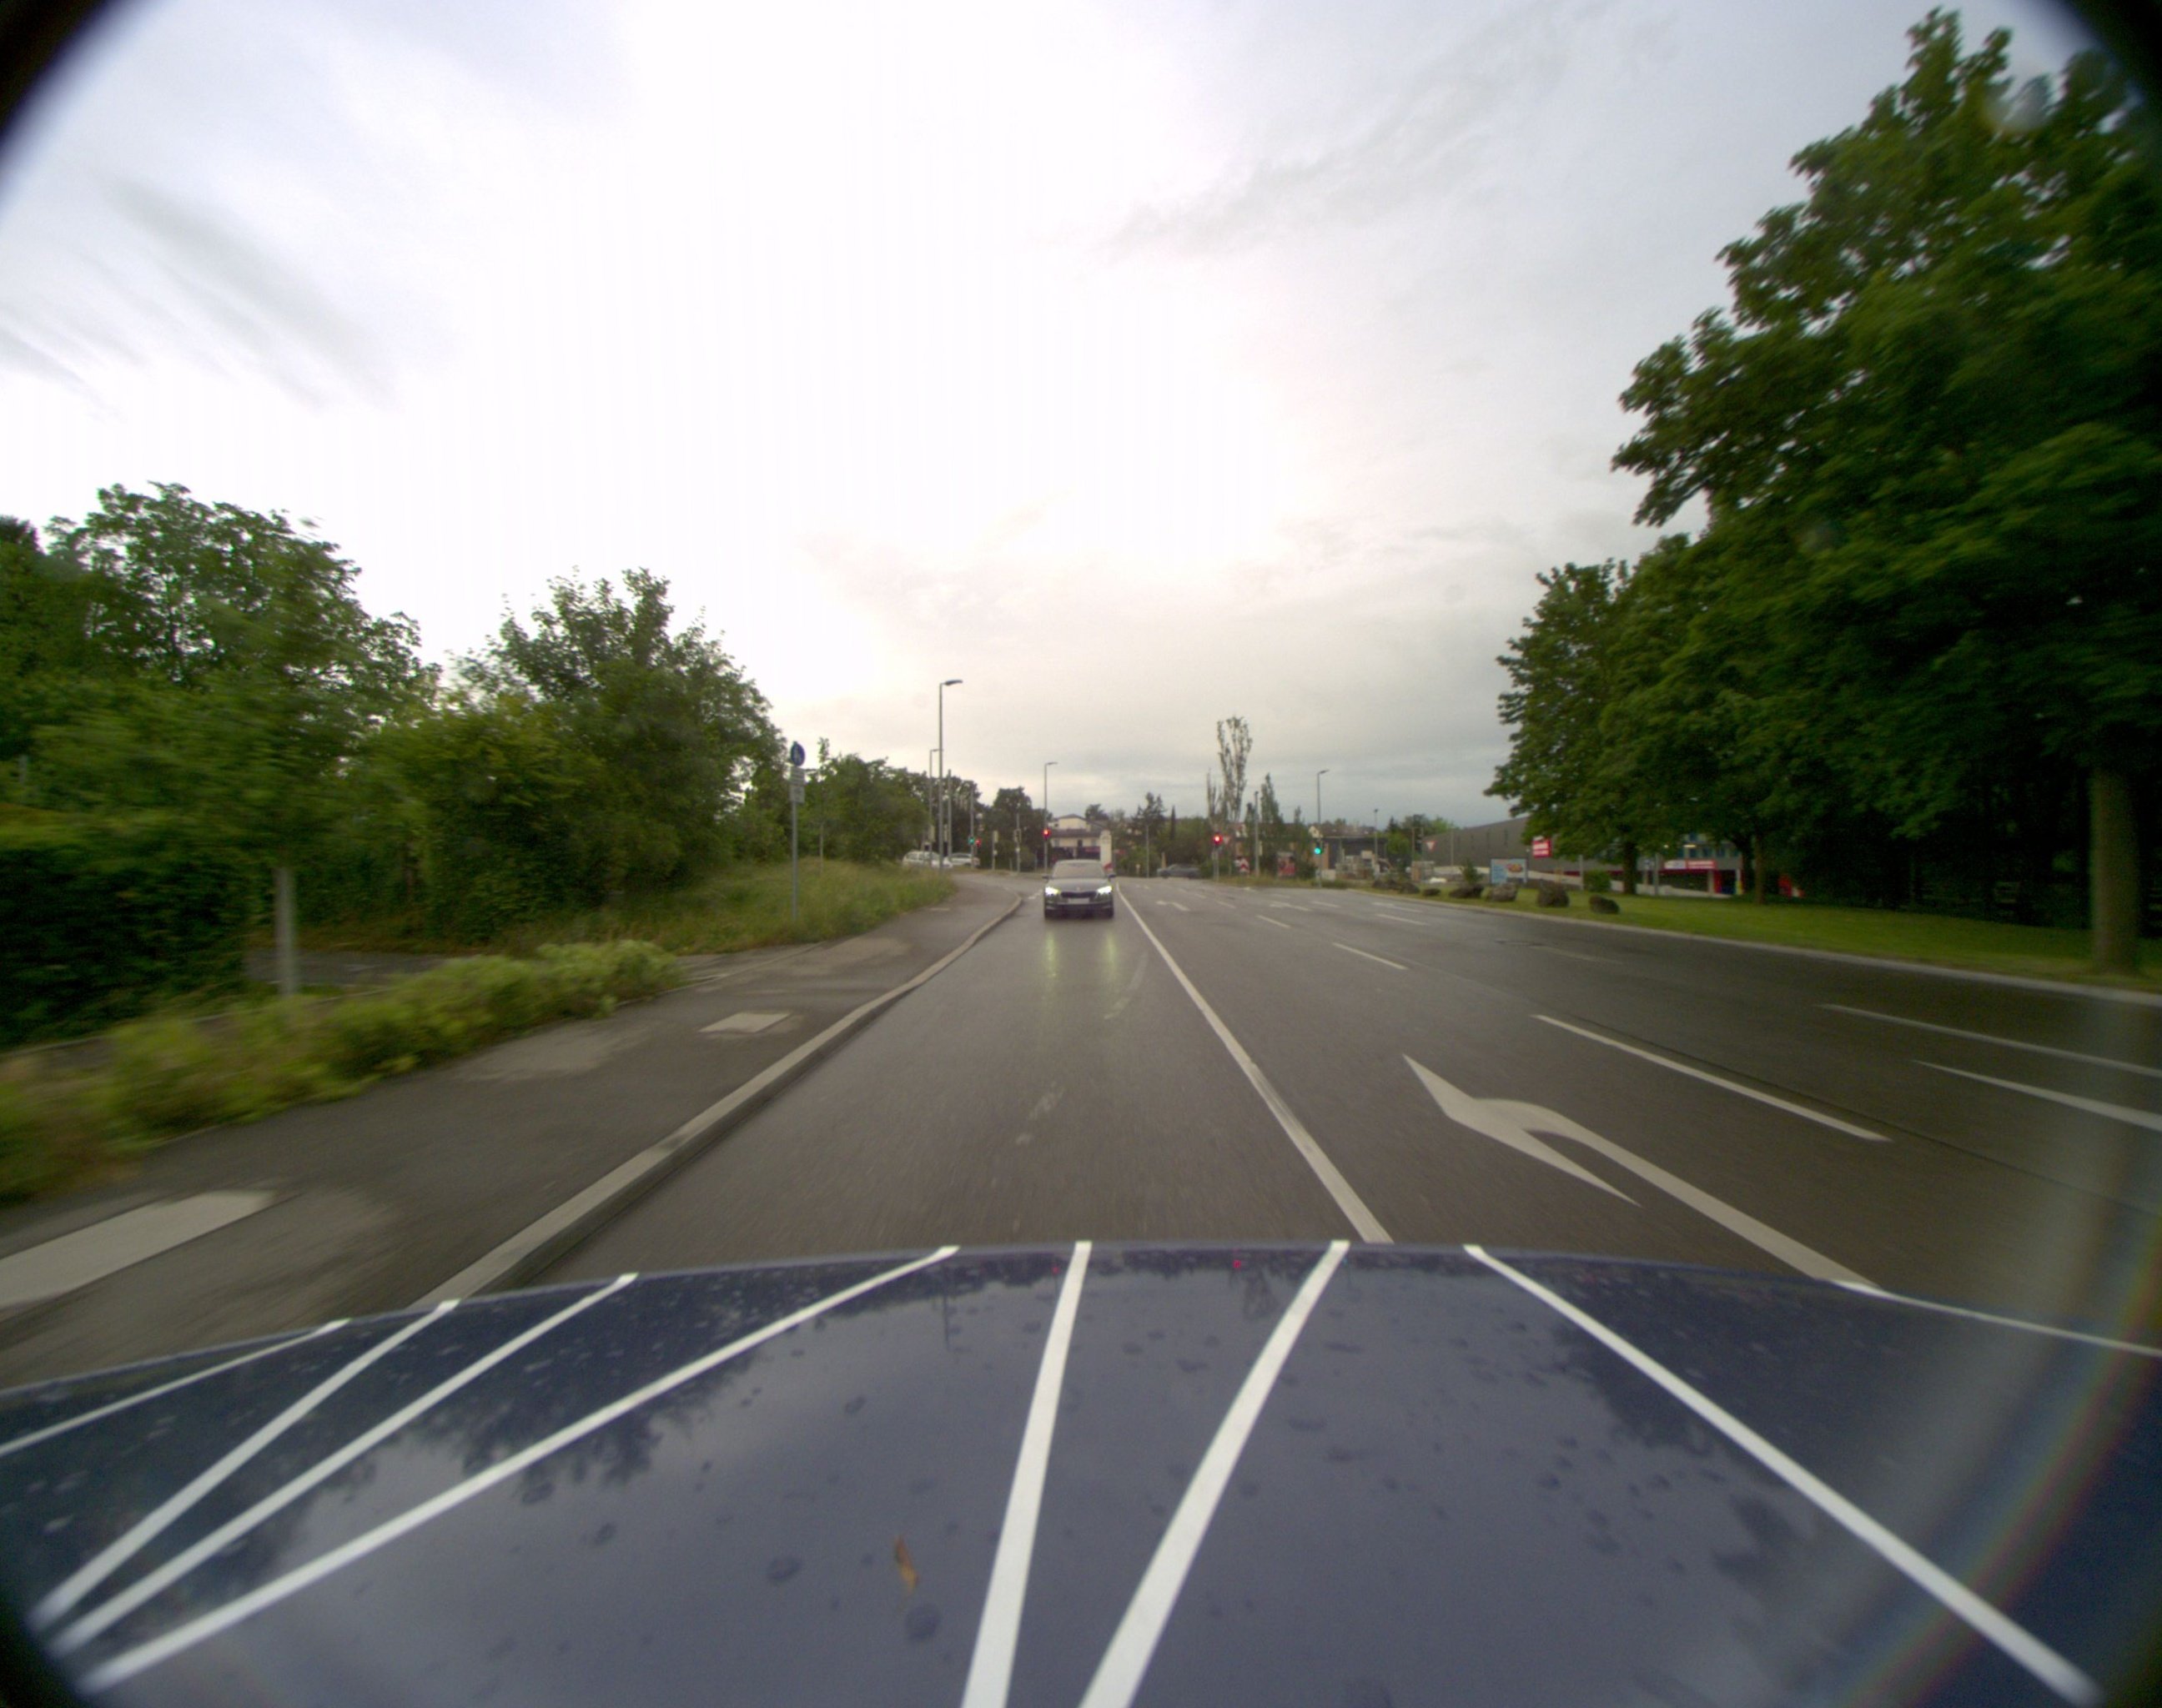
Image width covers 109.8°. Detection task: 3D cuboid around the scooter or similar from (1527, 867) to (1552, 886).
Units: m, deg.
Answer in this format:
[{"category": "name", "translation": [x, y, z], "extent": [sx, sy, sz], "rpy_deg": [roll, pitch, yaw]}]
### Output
[{"category": "scooter or similar", "translation": [30.790, 1.495, 51.051], "extent": [1.357, 1.251, 0.549], "rpy_deg": [2, 0, -5]}]

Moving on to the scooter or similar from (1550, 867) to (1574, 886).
[{"category": "scooter or similar", "translation": [32.254, 1.523, 50.949], "extent": [1.226, 1.251, 0.517], "rpy_deg": [2, 0, -5]}]

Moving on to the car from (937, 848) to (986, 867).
[{"category": "car", "translation": [-12.251, 0.369, 78.257], "extent": [4.621, 1.692, 1.841], "rpy_deg": [2, -1, 2]}]

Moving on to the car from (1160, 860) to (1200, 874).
[{"category": "car", "translation": [10.350, 1.336, 79.469], "extent": [4.036, 1.396, 1.842], "rpy_deg": [0, -1, 8]}]

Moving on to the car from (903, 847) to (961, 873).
[{"category": "car", "translation": [-10.734, 0.414, 54.603], "extent": [4.050, 1.596, 1.826], "rpy_deg": [3, 5, 37]}]

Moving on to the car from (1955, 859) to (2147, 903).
[{"category": "car", "translation": [36.605, 0.969, 28.856], "extent": [3.989, 1.510, 2.004], "rpy_deg": [1, 1, 28]}]

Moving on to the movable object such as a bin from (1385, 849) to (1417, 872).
[{"category": "movable object such as a bin", "translation": [38.142, 0.768, 90.658], "extent": [2.997, 2.611, 1.929], "rpy_deg": [2, -1, 0]}]

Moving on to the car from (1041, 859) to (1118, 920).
[{"category": "car", "translation": [-0.045, 0.888, 20.526], "extent": [1.839, 1.448, 4.202], "rpy_deg": [-1, -1, 0]}]
